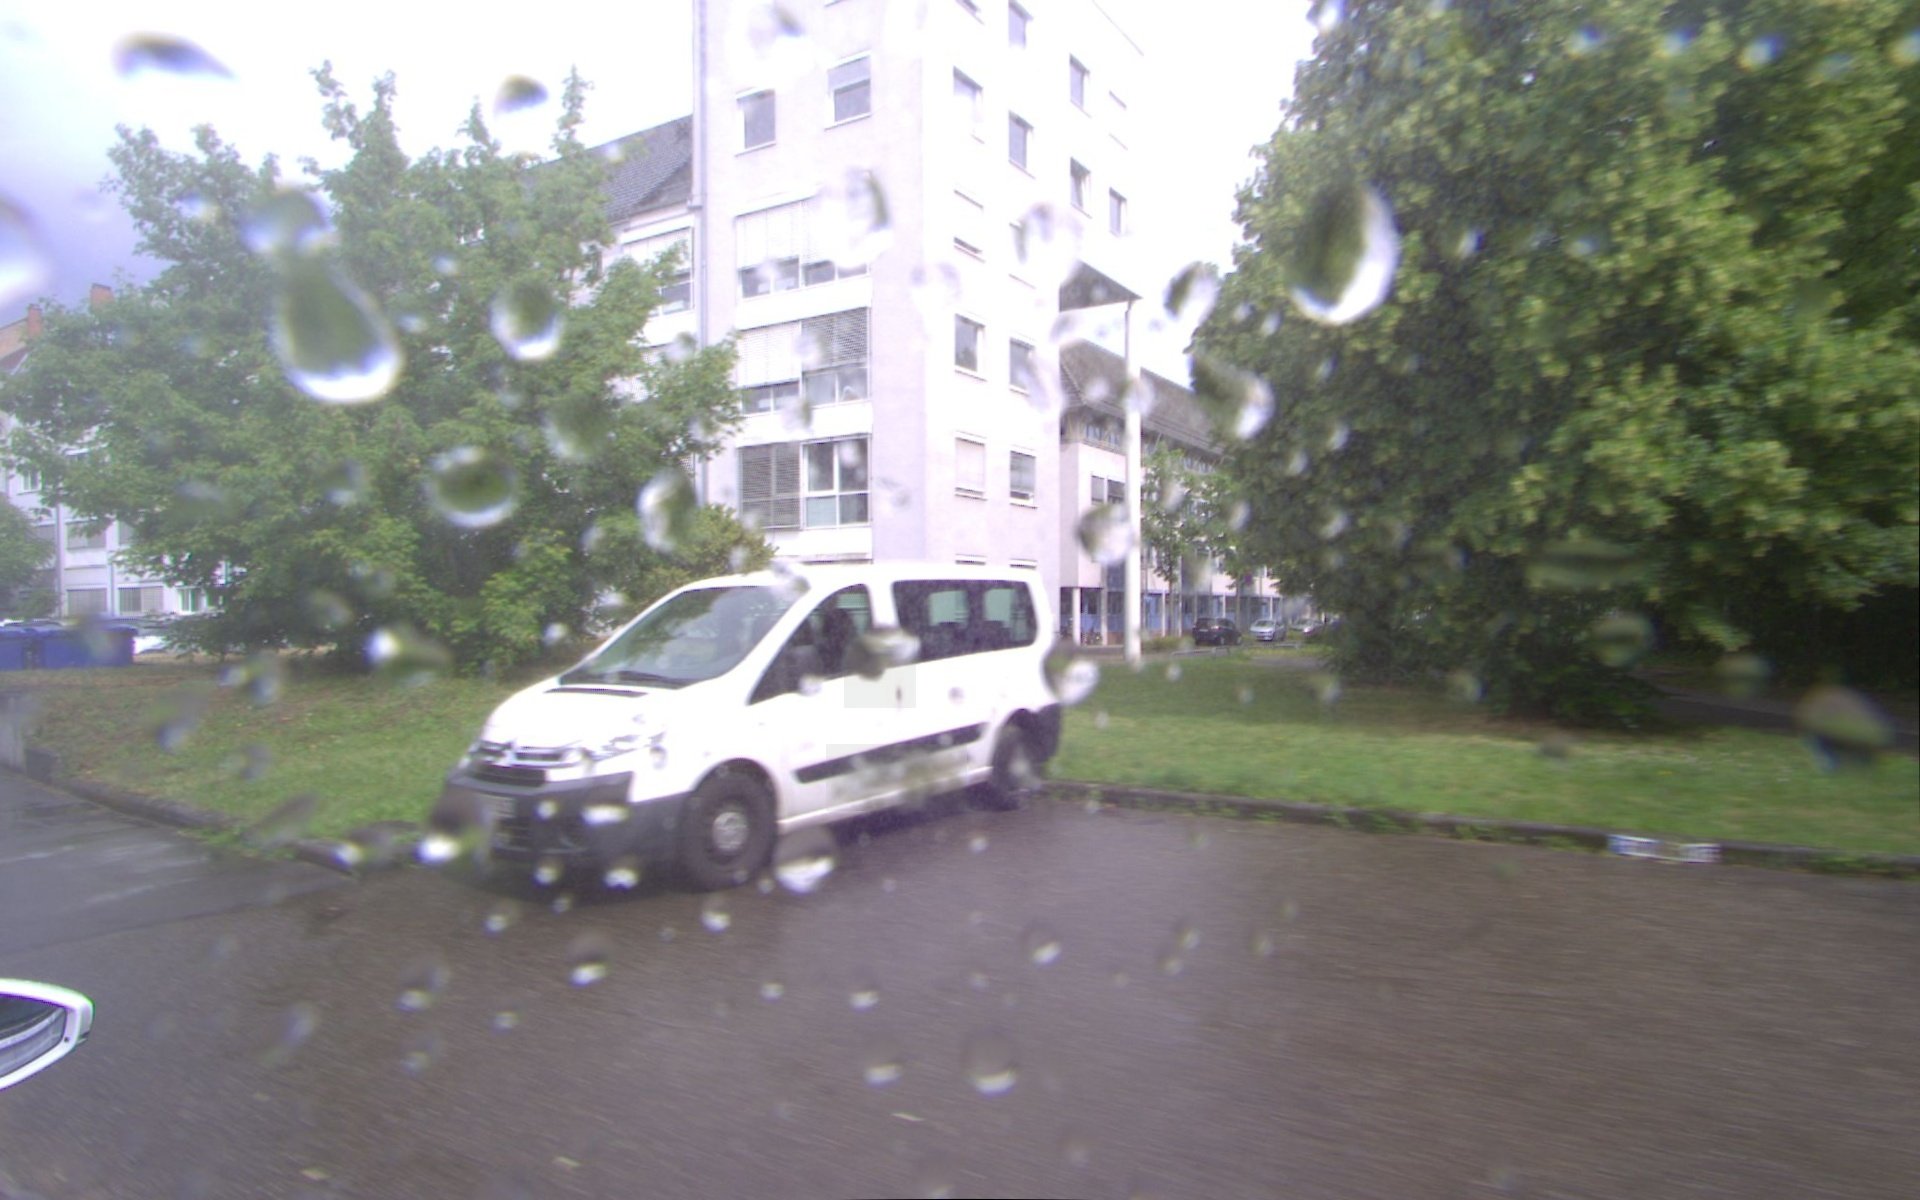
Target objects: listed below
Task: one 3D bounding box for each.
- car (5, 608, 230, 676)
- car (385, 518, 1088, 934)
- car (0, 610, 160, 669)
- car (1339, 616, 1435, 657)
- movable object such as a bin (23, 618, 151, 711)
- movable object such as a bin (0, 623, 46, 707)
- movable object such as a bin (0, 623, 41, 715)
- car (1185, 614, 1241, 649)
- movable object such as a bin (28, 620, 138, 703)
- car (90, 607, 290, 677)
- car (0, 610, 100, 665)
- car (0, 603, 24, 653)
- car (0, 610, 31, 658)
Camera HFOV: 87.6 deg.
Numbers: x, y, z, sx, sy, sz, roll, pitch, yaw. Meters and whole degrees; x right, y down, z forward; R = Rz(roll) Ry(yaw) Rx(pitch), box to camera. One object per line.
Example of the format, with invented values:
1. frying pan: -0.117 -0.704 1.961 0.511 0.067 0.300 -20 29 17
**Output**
1. car: -21.168 0.990 25.317 1.780 1.465 3.979 0 1 31
2. car: -1.163 0.665 7.293 2.072 1.950 4.858 -1 -2 36
3. car: -25.297 1.068 28.163 1.746 1.478 3.982 -1 0 29
4. car: 23.727 2.000 55.730 4.524 1.967 2.038 2 2 37
5. movable object such as a bin: -13.826 0.985 15.864 1.181 1.354 1.288 0 1 37
6. movable object such as a bin: -15.734 1.044 16.071 1.069 1.321 1.367 0 1 36
7. movable object such as a bin: -14.542 1.017 14.723 1.081 1.309 1.333 1 1 37
8. car: 14.828 1.804 58.563 1.971 1.814 4.211 2 2 32
9. movable object such as a bin: -15.019 1.023 17.154 1.092 1.321 1.182 0 1 35
10. car: -18.357 0.960 23.999 1.664 1.446 3.407 -1 1 32
11. car: -28.230 1.101 29.578 1.791 1.534 3.905 -1 0 27
12. car: -34.611 1.002 33.908 1.792 1.710 3.899 -1 1 33
13. car: -32.320 1.137 31.699 1.726 1.534 3.903 -1 1 29
